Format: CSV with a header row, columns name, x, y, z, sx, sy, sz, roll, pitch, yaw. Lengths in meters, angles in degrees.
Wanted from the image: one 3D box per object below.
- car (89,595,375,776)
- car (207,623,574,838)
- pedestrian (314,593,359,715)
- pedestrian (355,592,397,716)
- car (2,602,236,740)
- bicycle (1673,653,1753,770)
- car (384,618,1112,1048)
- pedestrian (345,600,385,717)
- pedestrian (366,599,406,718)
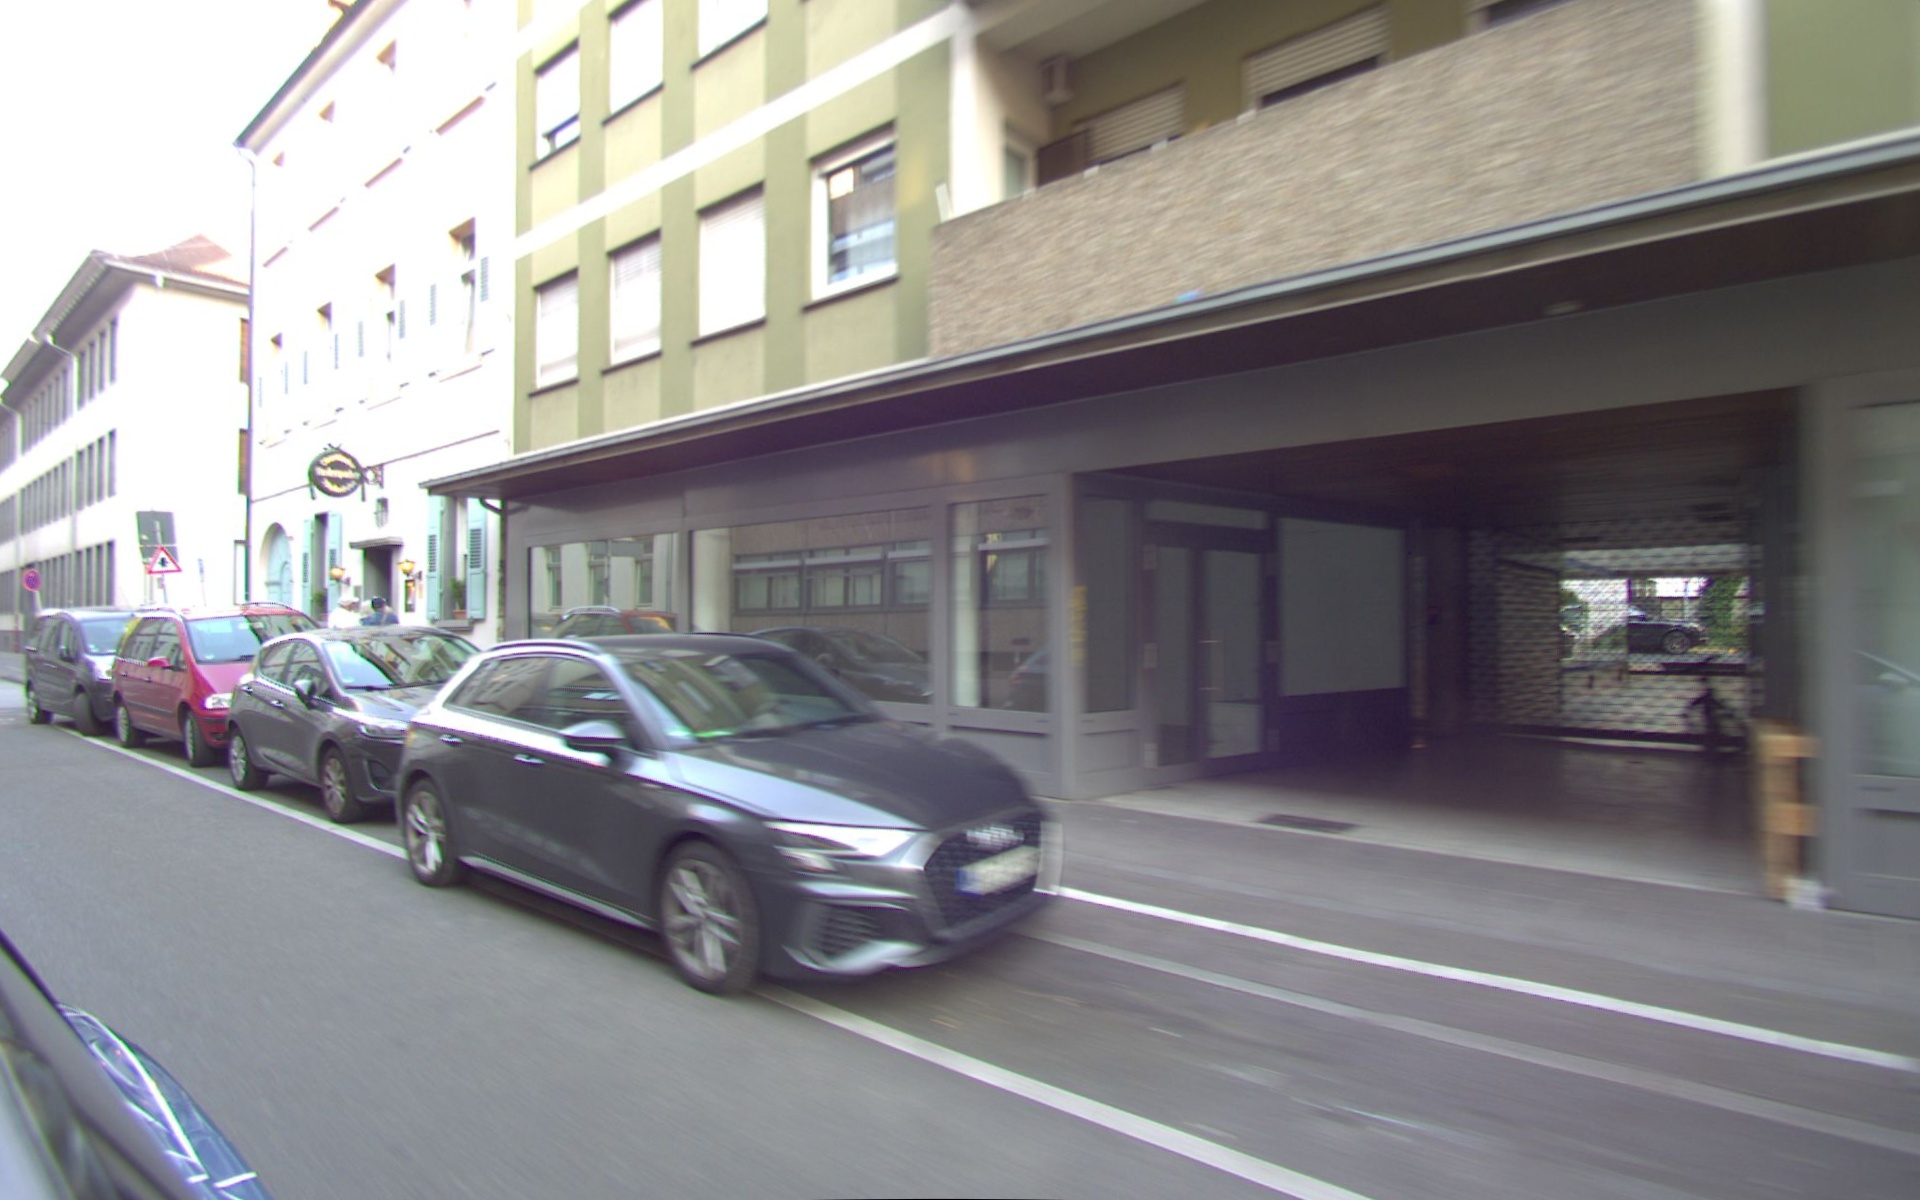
name,x,y,z,sx,sy,sz,roll,pitch,yaw
car,-8.976,0.903,12.326,4.506,1.825,1.755,-1,-1,40
car,-5.165,0.962,8.974,3.875,1.496,1.607,-1,-2,41
pedestrian,-9.245,0.792,15.003,0.470,1.763,0.444,-1,-2,42
pedestrian,-8.460,0.767,14.661,0.470,1.763,0.402,-1,-2,42
car,-12.982,0.981,15.530,4.444,1.825,1.859,-1,-1,38
bicycle,7.100,1.003,9.584,0.496,0.946,1.681,-1,-1,33
car,-1.342,0.824,5.303,3.976,1.426,1.608,-1,-1,39
pedestrian,-9.148,0.881,15.562,0.470,1.763,0.402,-1,-2,42
pedestrian,-8.645,0.866,15.243,0.470,1.763,0.402,-1,-2,42
